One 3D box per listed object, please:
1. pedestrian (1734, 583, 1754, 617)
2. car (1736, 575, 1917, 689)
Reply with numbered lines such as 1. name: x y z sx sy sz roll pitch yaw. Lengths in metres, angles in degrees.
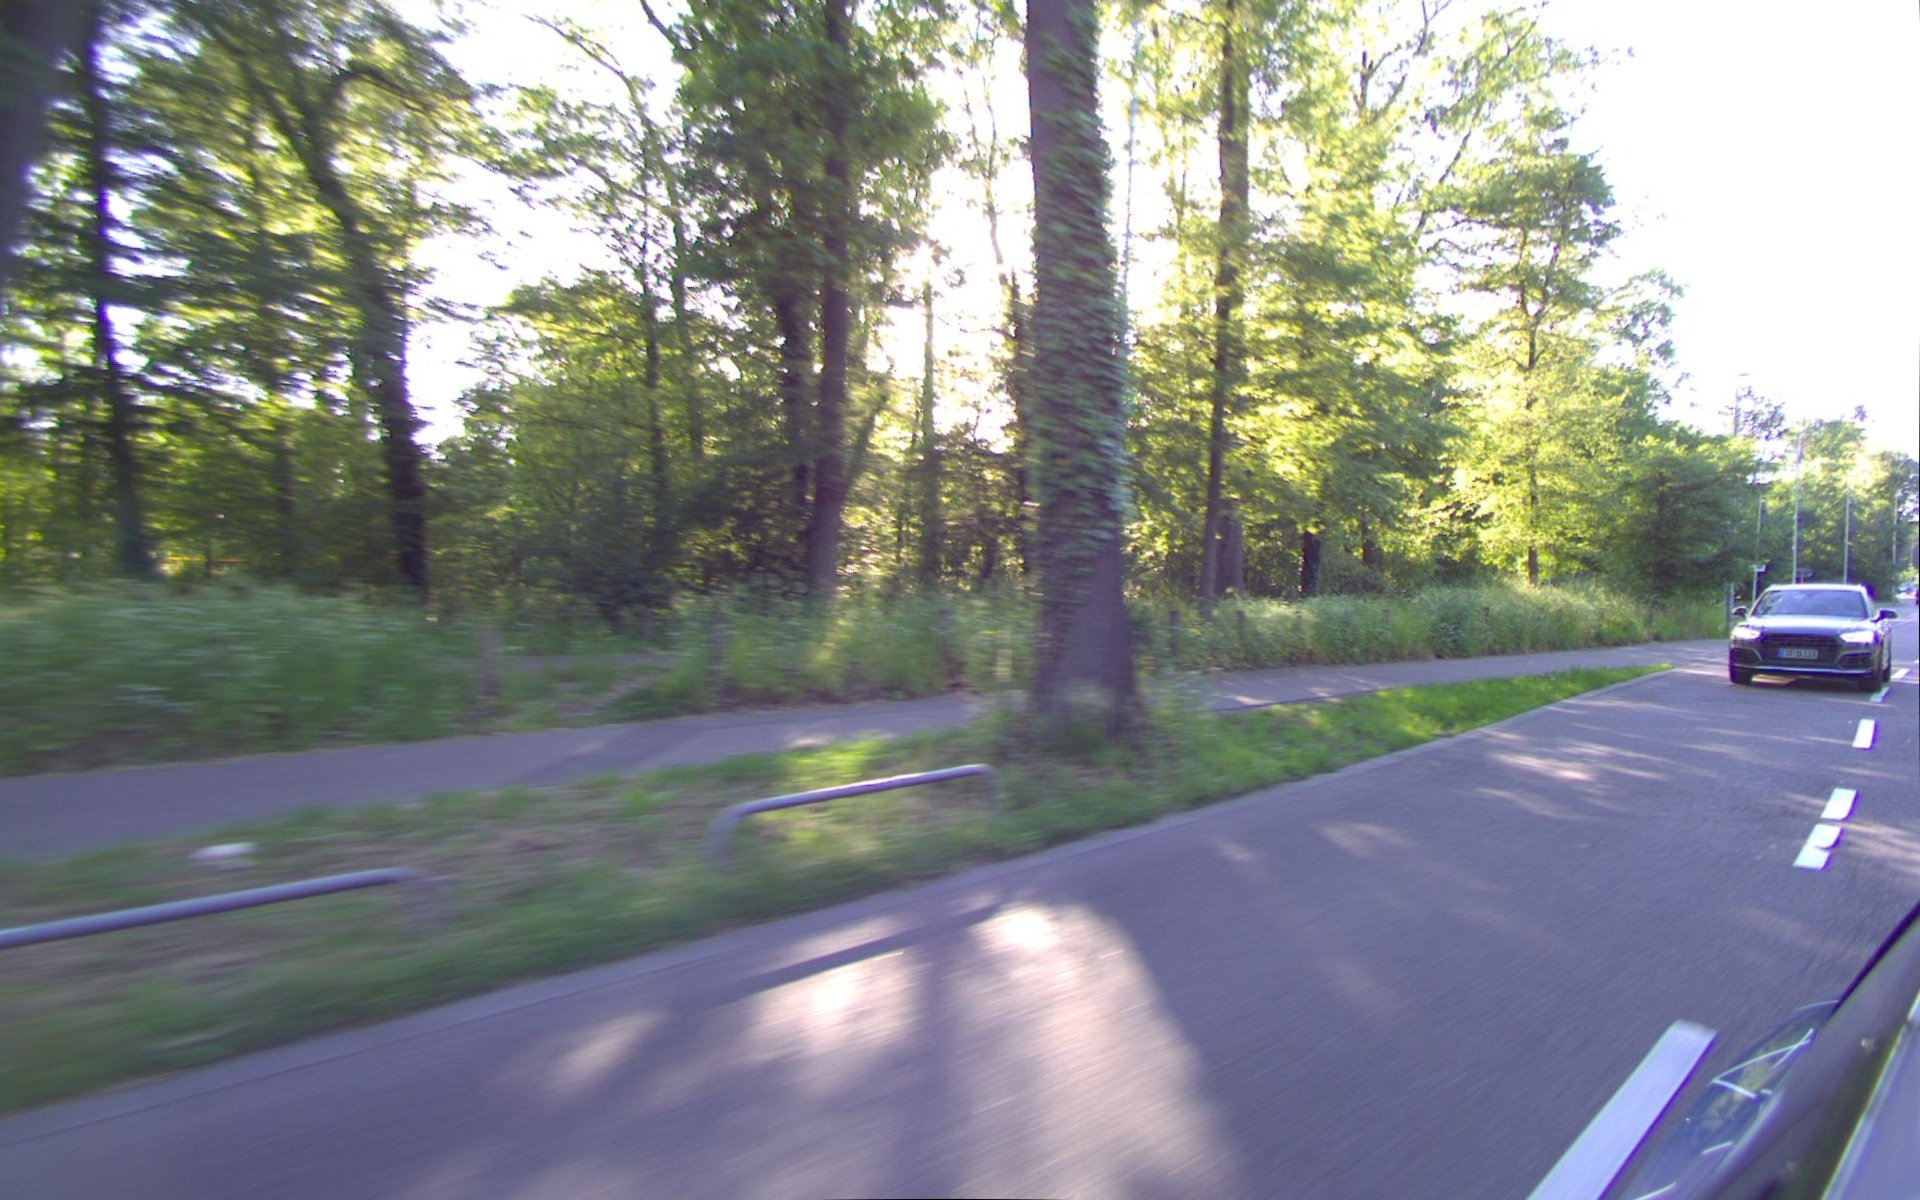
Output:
1. pedestrian: 36.347 0.001 46.926 0.748 1.538 0.640 -1 0 -44
2. car: 14.367 0.417 16.710 3.934 1.638 1.858 -1 2 -43
